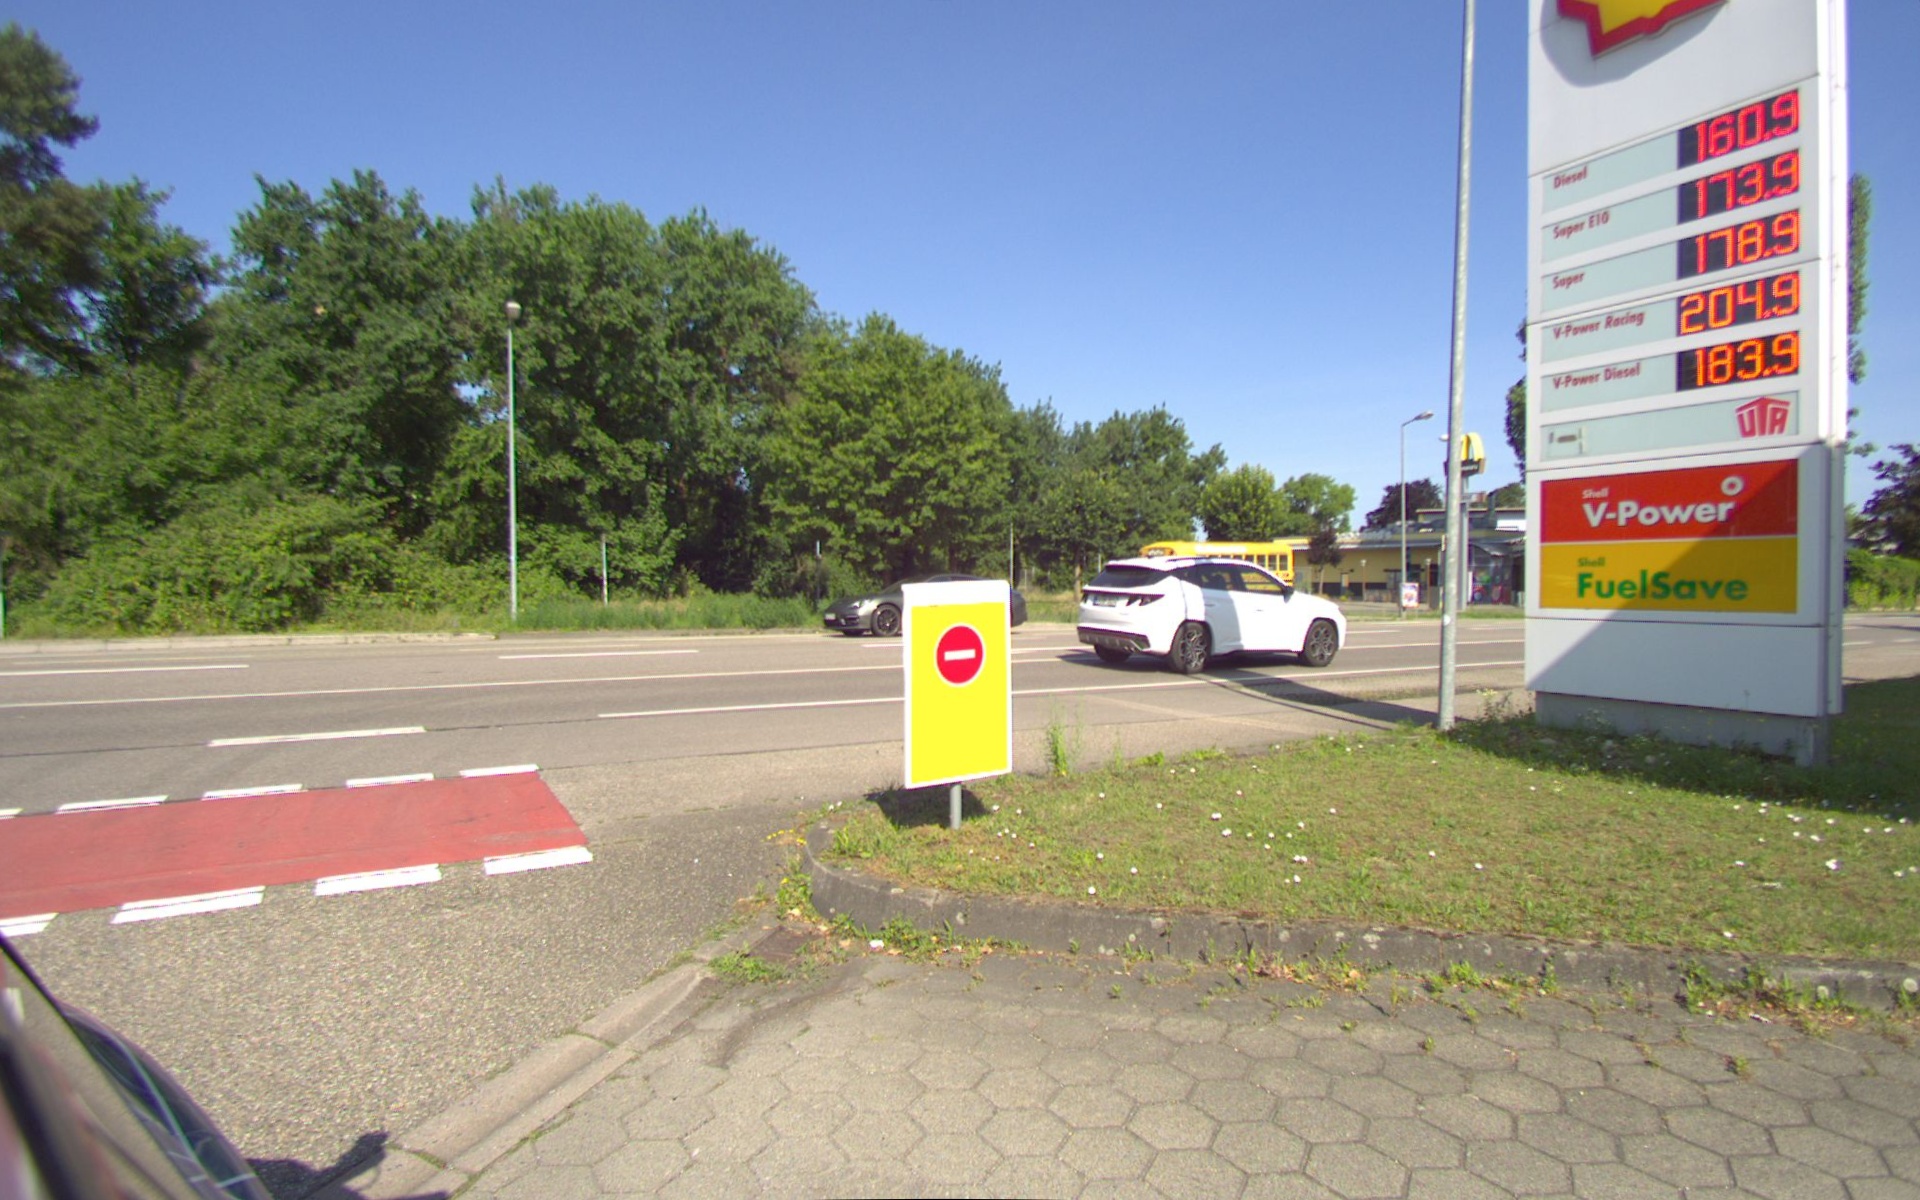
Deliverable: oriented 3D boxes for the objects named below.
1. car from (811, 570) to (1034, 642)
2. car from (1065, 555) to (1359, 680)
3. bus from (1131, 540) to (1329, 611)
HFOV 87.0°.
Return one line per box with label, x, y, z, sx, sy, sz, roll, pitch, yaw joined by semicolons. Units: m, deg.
car;-0.816;0.151;23.291;4.827;1.507;1.858;0;-1;-31
car;3.842;0.187;15.258;4.234;1.660;1.820;0;2;-31
bus;11.350;-0.995;42.075;8.845;2.699;2.595;0;2;-33
